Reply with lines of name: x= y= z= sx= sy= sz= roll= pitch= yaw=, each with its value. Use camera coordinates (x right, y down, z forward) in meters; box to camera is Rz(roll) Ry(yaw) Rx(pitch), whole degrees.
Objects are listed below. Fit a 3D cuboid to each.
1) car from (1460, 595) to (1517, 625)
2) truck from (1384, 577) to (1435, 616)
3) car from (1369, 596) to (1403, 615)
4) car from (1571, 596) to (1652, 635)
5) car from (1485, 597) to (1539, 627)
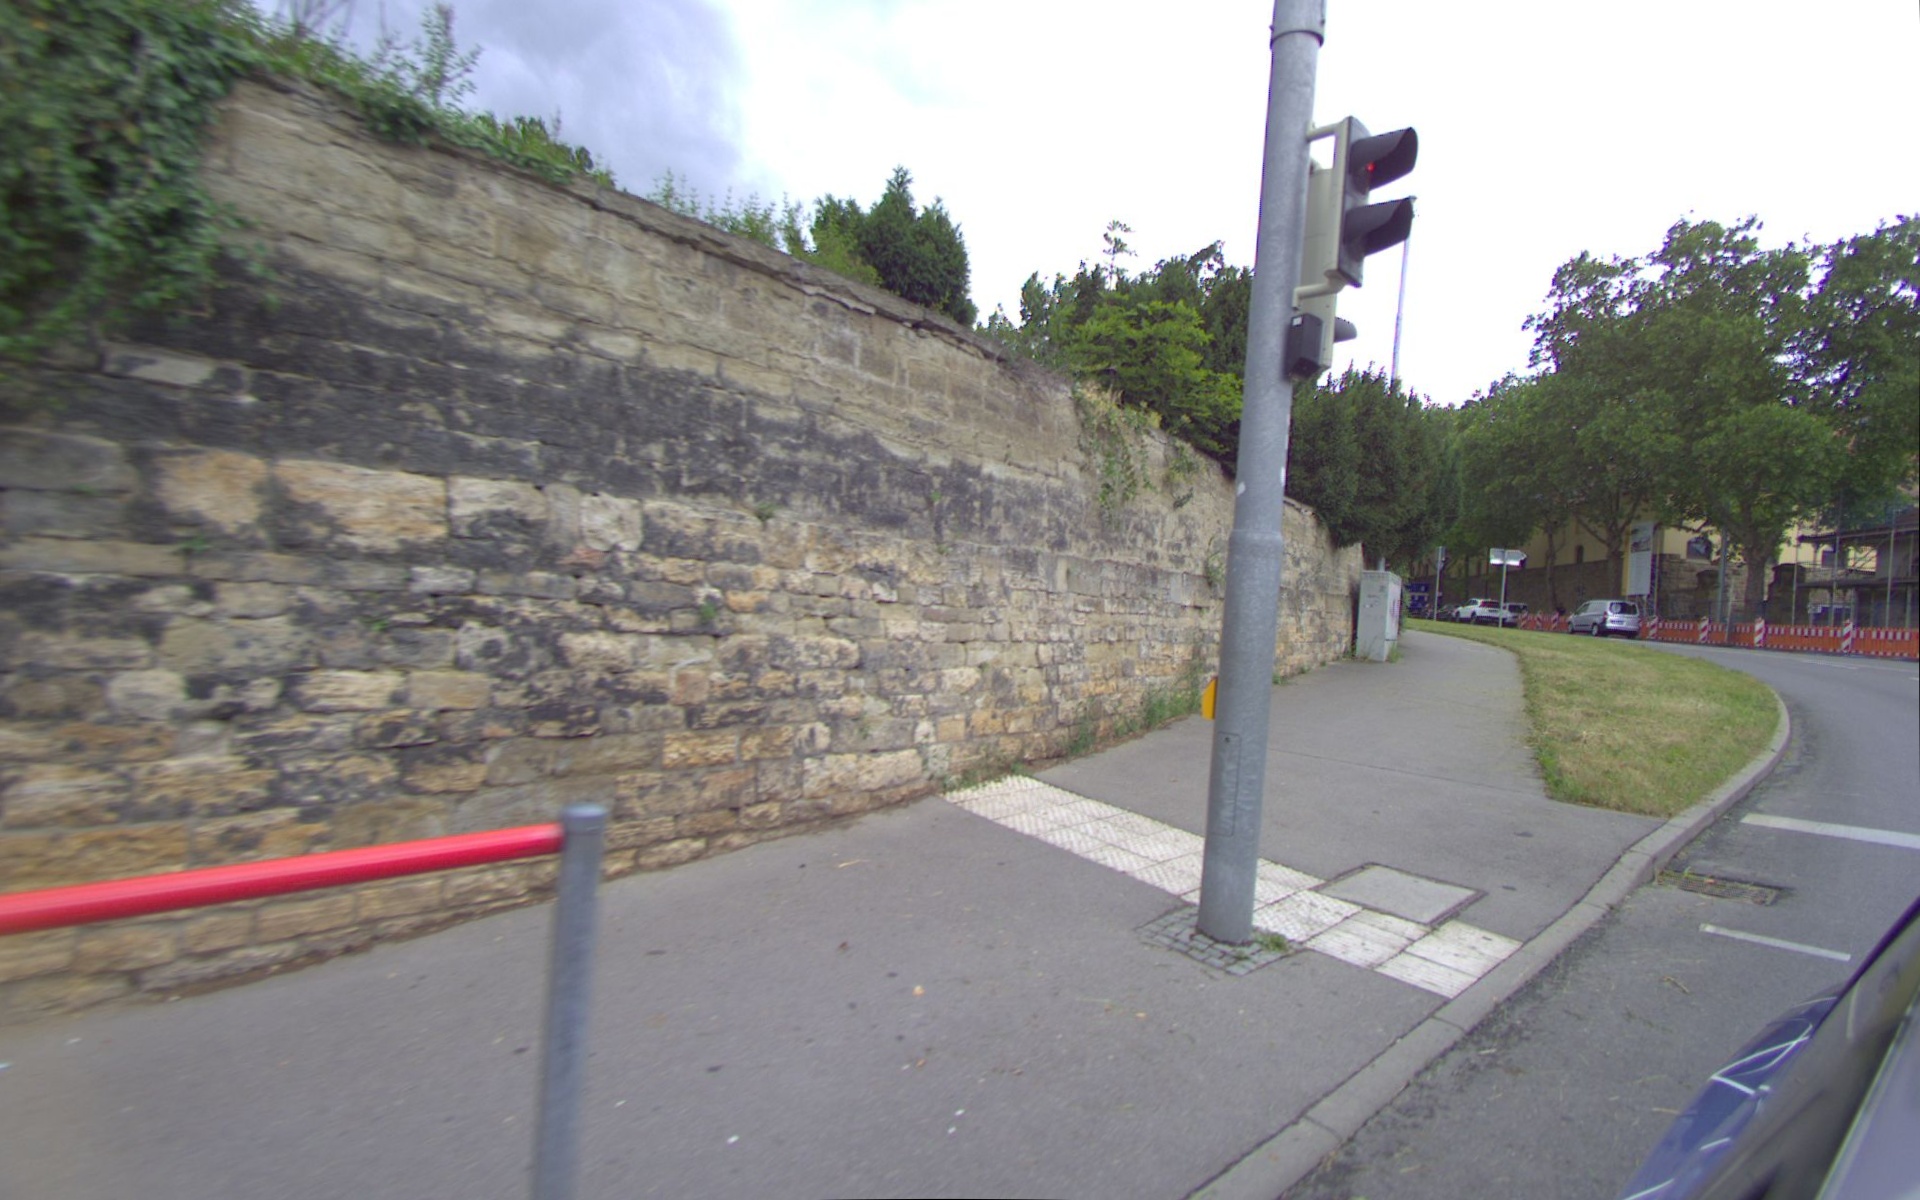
car: x=32.491 y=0.603 z=62.367 sx=1.770 sy=1.631 sz=4.493 roll=4 pitch=1 yaw=11
truck: x=41.769 y=-0.335 z=94.267 sx=2.185 sy=3.459 sz=7.232 roll=2 pitch=1 yaw=7
car: x=38.655 y=0.461 z=91.925 sx=1.779 sy=1.490 sz=4.834 roll=4 pitch=1 yaw=10
car: x=30.198 y=0.673 z=47.048 sx=1.671 sy=1.634 sz=4.070 roll=2 pitch=1 yaw=11
car: x=38.530 y=0.796 z=70.737 sx=1.810 sy=1.899 sz=4.405 roll=5 pitch=1 yaw=9
